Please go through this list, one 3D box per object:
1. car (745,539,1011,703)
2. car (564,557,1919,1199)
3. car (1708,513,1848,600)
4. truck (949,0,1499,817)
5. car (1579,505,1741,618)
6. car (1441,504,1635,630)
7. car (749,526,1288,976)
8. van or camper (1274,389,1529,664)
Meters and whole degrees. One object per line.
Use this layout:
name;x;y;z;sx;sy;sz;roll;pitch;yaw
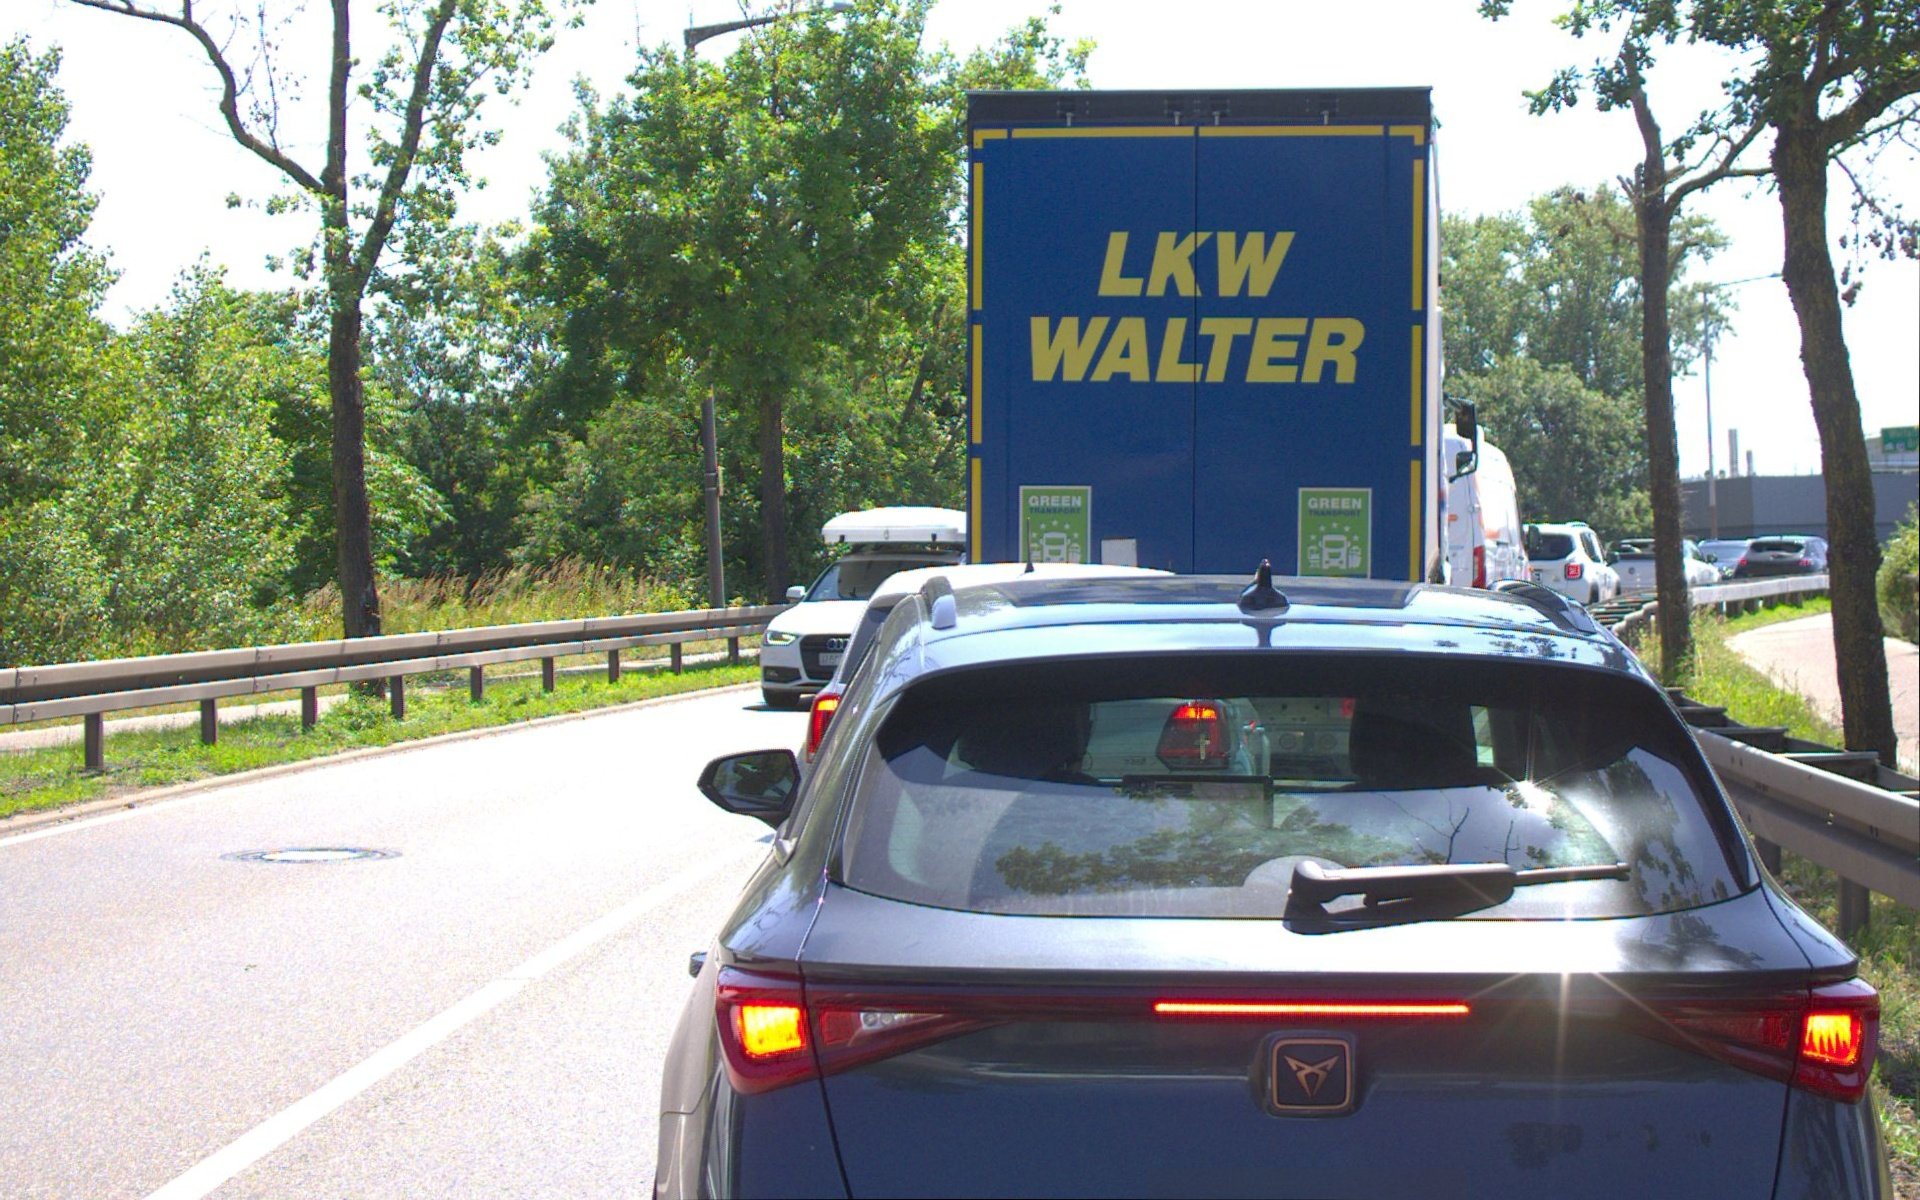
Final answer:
car;-0.695;0.151;32.411;1.820;1.416;4.465;1;1;8
car;0.388;0.659;5.855;1.744;1.427;3.880;1;1;-1
car;16.788;-0.891;70.383;1.996;1.711;4.863;1;1;23
truck;2.462;-1.188;27.112;2.950;4.433;16.794;1;1;7
car;11.844;-0.653;57.975;1.995;1.802;4.841;1;1;20
car;8.373;-0.483;49.518;1.995;1.706;4.616;1;1;19
car;0.269;0.477;13.650;1.809;1.503;4.000;1;1;2
van or camper;5.308;-0.858;40.578;2.467;2.988;6.083;1;1;12
